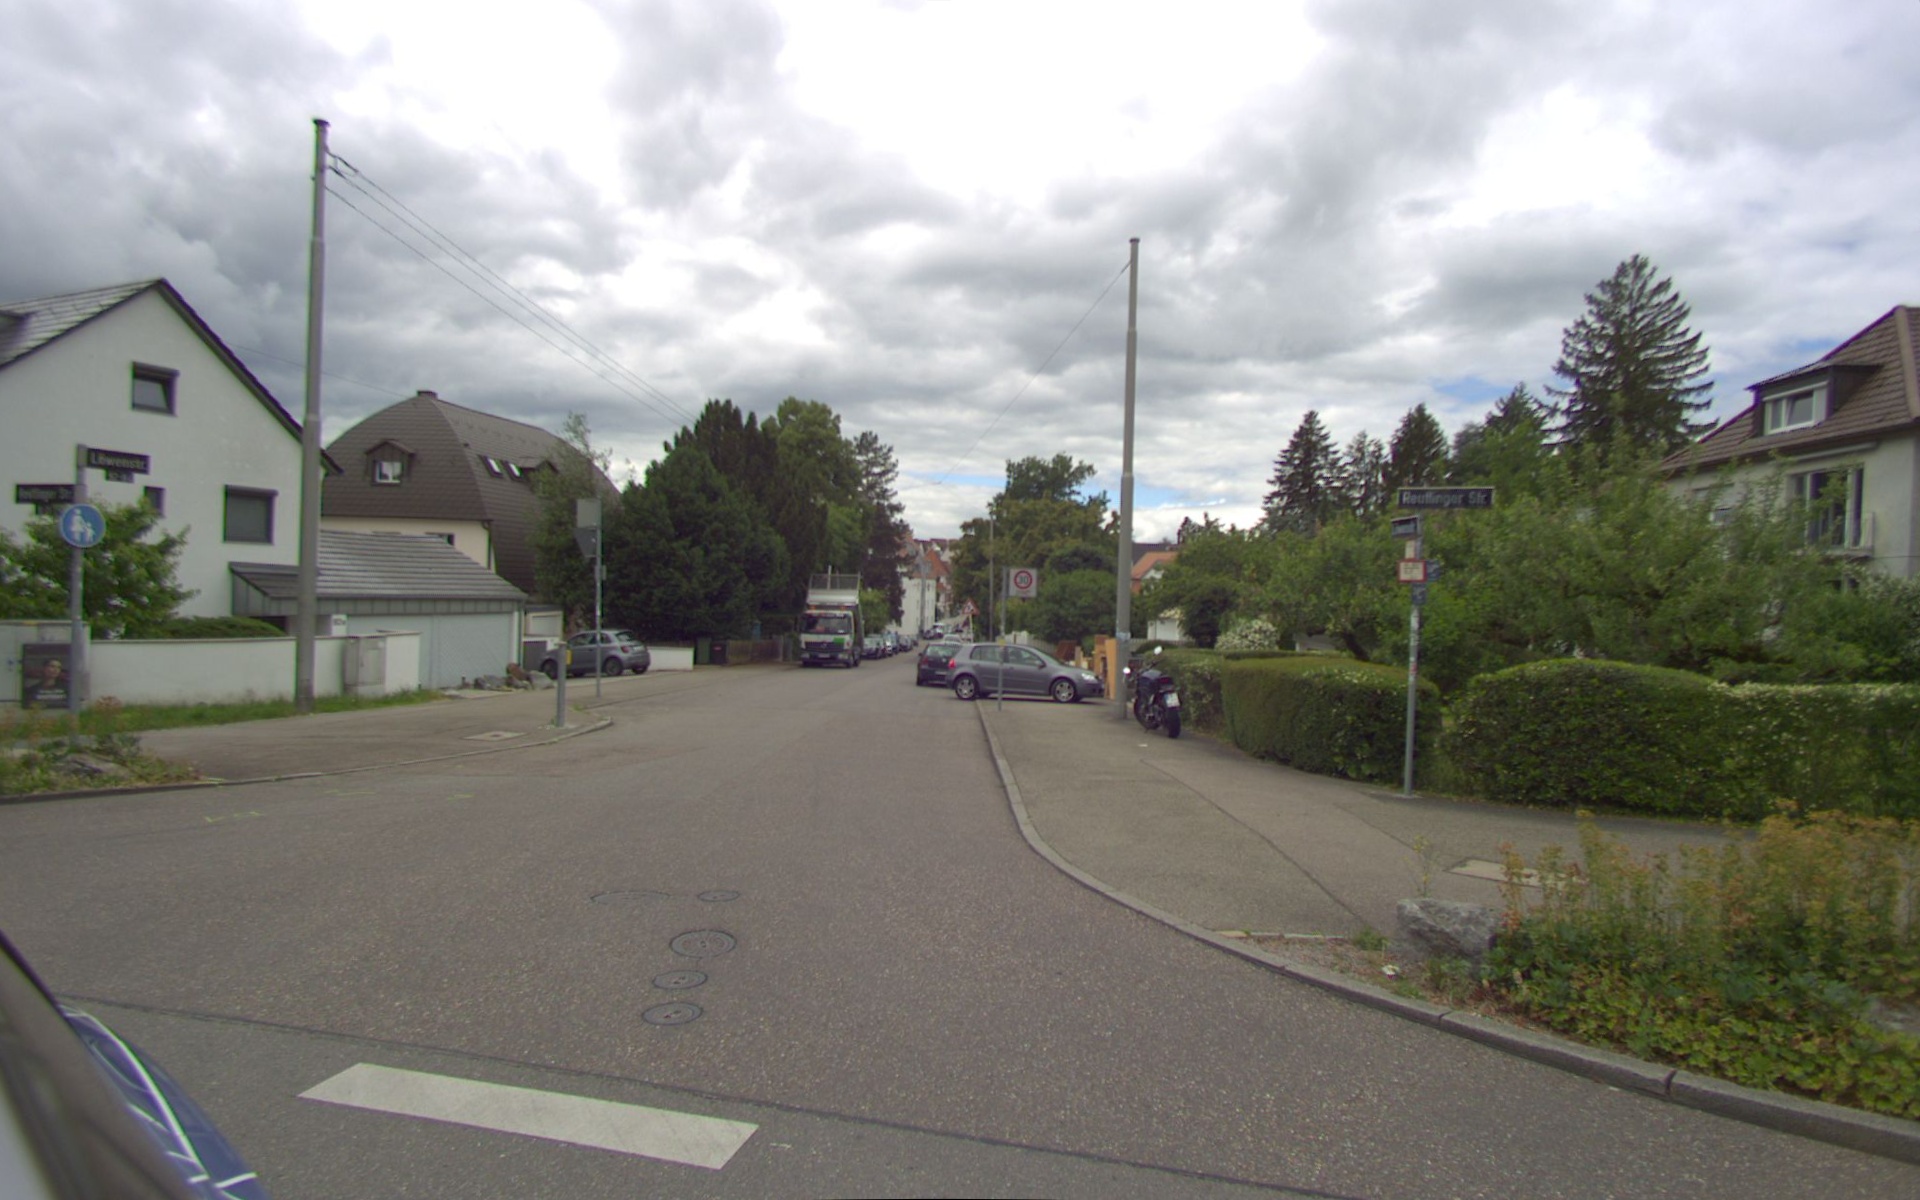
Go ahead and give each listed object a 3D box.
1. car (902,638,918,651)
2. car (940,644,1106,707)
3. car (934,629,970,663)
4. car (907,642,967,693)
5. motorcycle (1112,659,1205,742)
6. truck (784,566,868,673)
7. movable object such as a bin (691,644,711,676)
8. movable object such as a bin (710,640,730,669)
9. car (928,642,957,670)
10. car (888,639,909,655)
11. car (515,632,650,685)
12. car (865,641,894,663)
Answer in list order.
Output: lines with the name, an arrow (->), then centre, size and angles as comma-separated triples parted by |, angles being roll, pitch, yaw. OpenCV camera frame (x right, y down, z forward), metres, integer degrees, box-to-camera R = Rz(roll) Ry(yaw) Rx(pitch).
car -> -6.551, 5.799, 132.638 | 1.850, 1.564, 3.824 | 1, -2, 0
car -> 1.644, 1.905, 26.108 | 3.967, 1.473, 1.727 | 0, -3, 19
car -> -0.386, 2.235, 49.446 | 1.599, 1.479, 3.312 | 4, -2, 0
car -> -0.778, 2.150, 32.910 | 1.734, 1.455, 3.804 | 4, -2, -2
motorcycle -> 3.068, 1.538, 15.868 | 0.763, 1.148, 2.149 | 2, -3, -7
truck -> -6.196, 1.004, 48.094 | 3.109, 4.586, 7.956 | 2, -2, -2
movable object such as a bin -> -10.118, 2.339, 39.516 | 0.591, 1.217, 0.952 | -1, -5, -3
movable object such as a bin -> -9.397, 2.141, 39.628 | 0.591, 1.114, 0.952 | -1, -5, -3
car -> -1.007, 3.288, 59.811 | 1.599, 1.479, 3.312 | 4, -2, 0
car -> -6.179, 4.748, 102.262 | 1.850, 1.564, 3.824 | 1, -2, 0
car -> -12.285, 1.893, 32.954 | 3.821, 1.508, 1.685 | -4, -3, 14
car -> -5.859, 3.775, 73.980 | 1.850, 1.564, 3.824 | 1, -2, 0
